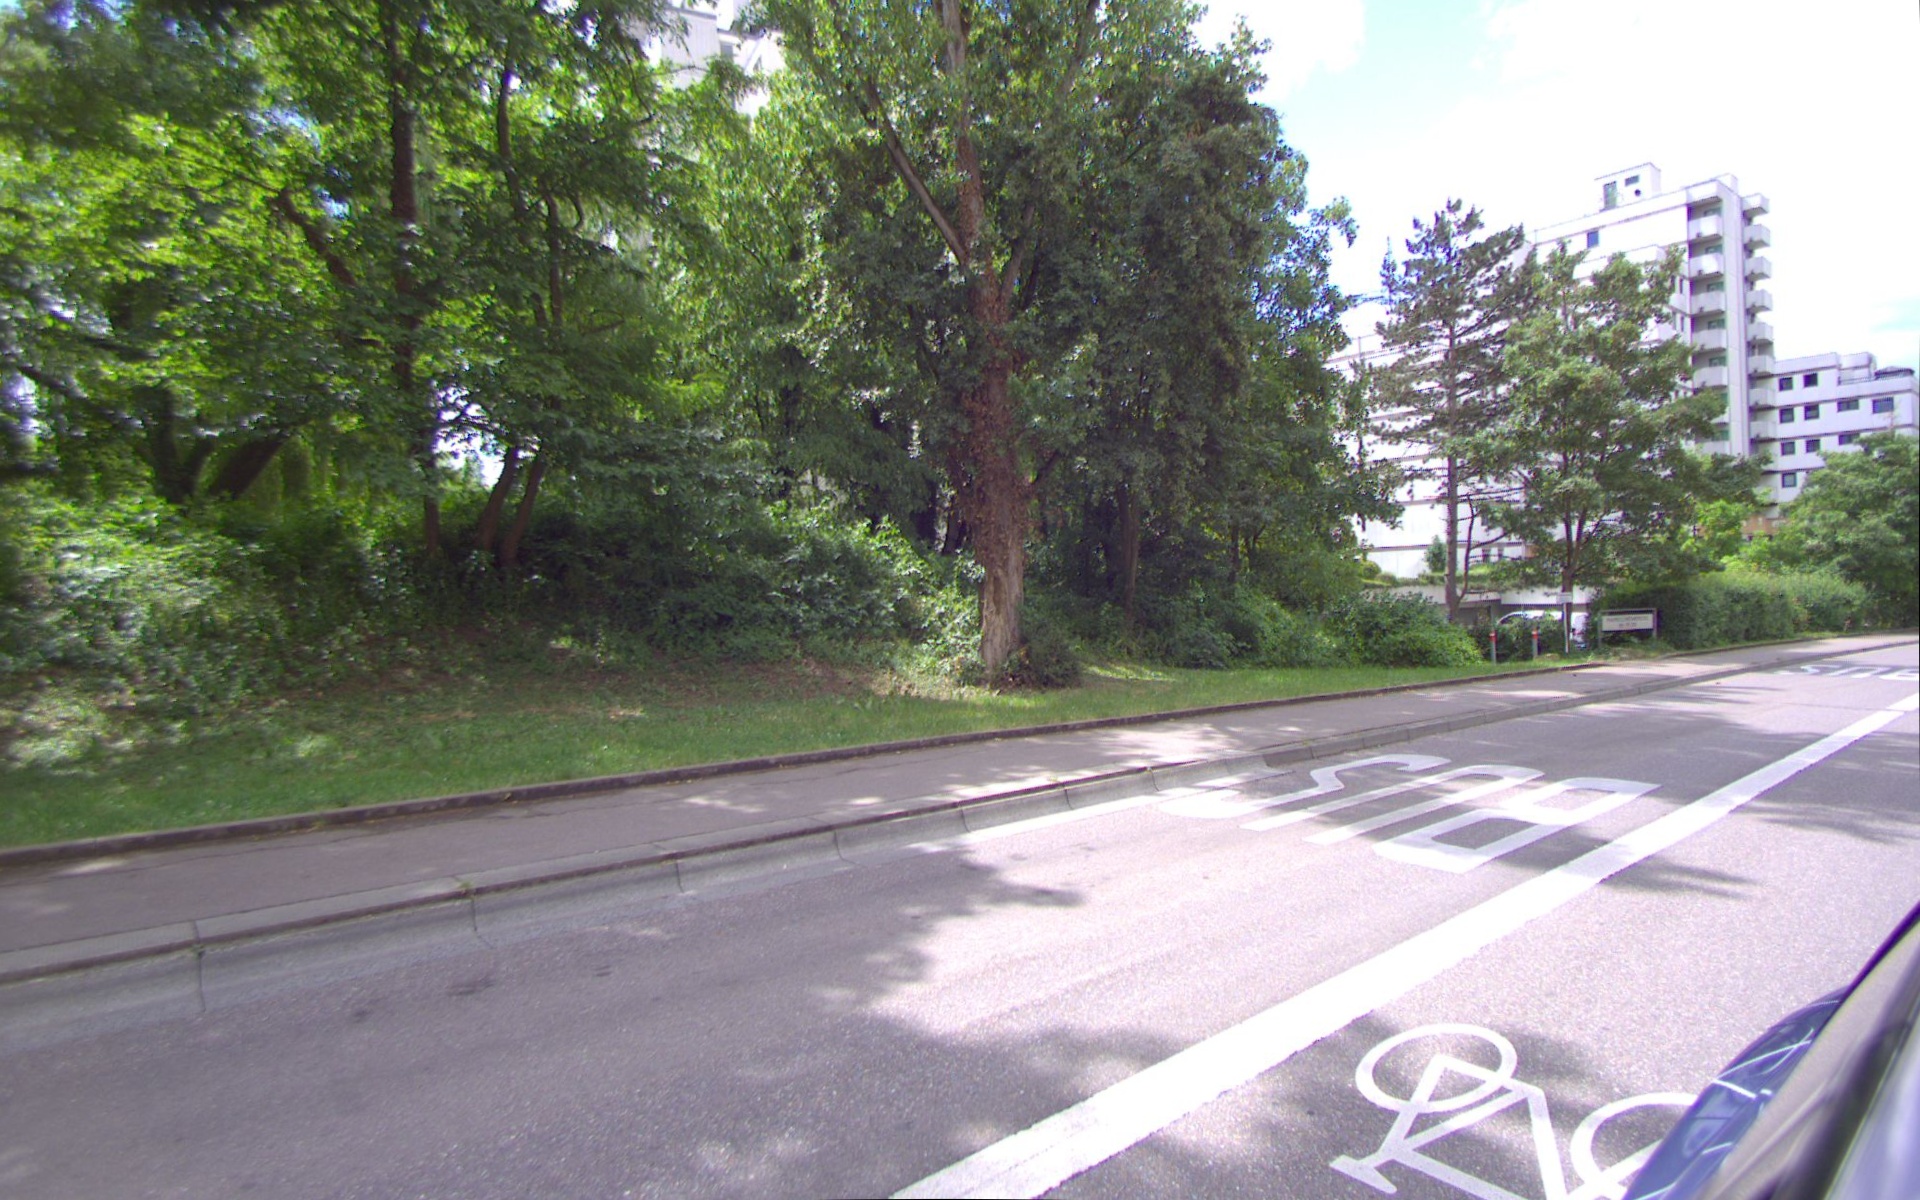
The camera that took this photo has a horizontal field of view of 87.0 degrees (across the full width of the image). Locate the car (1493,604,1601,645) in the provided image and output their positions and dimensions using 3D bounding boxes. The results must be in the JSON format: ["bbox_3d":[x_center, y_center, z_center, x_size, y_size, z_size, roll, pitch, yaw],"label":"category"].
[{"bbox_3d":[31.042,1.236,53.638,1.962,2.039,4.549,-1,0,-34],"label":"car"}]
